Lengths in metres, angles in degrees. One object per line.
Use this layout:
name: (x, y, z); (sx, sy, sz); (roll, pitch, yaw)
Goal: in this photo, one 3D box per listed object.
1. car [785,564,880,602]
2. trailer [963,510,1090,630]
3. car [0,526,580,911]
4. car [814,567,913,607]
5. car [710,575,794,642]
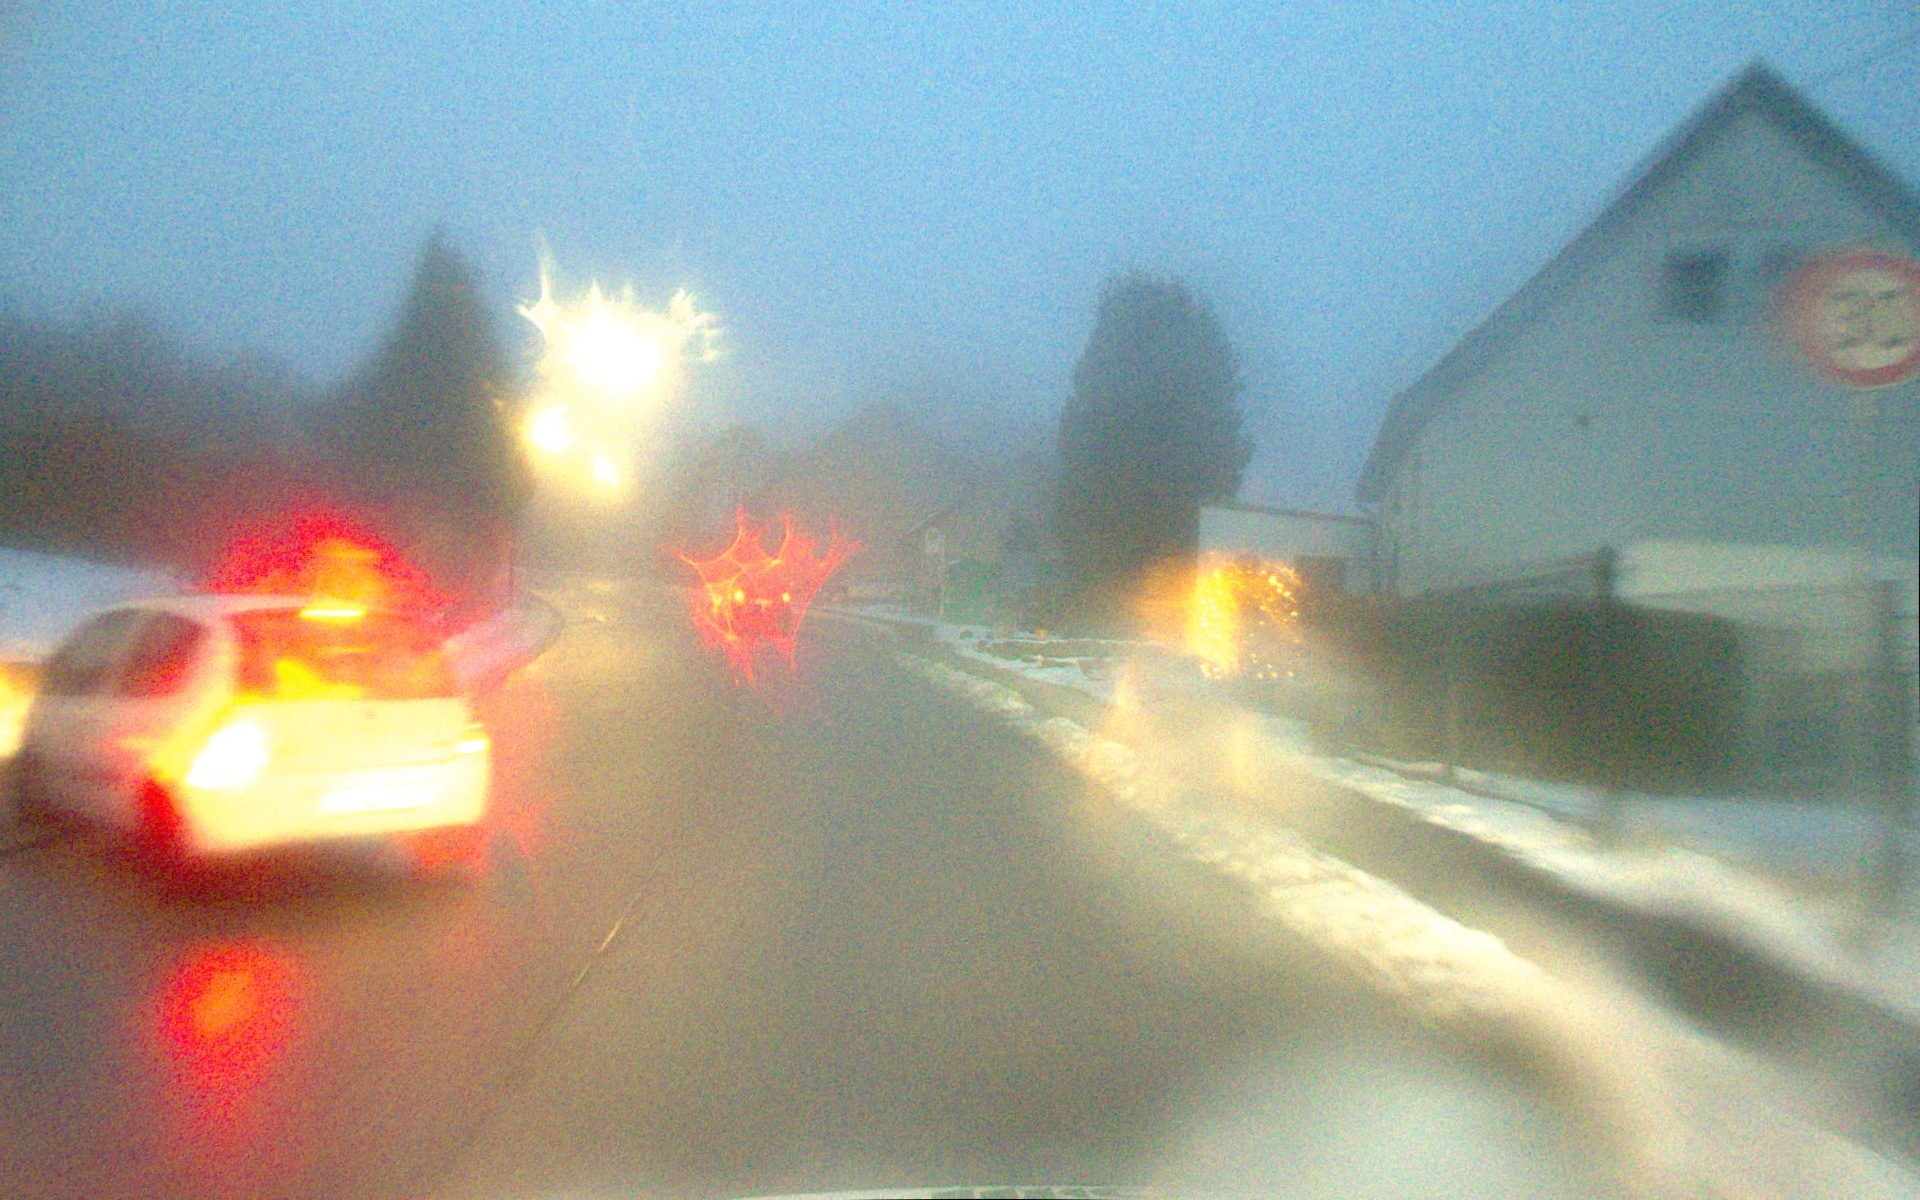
car: (-5.740, -0.746, 74.217); (4.081, 1.586, 1.942); (1, -2, -9)
trailer: (2.119, -0.950, 54.386); (2.825, 3.622, 5.045); (2, 0, -13)
car: (-4.088, 0.478, 9.346); (3.933, 1.637, 1.891); (4, 1, 44)
car: (-4.164, -0.551, 71.483); (4.158, 1.586, 1.998); (1, -2, -4)
car: (-5.839, 0.285, 46.126); (1.959, 1.767, 3.865); (1, -2, -13)
